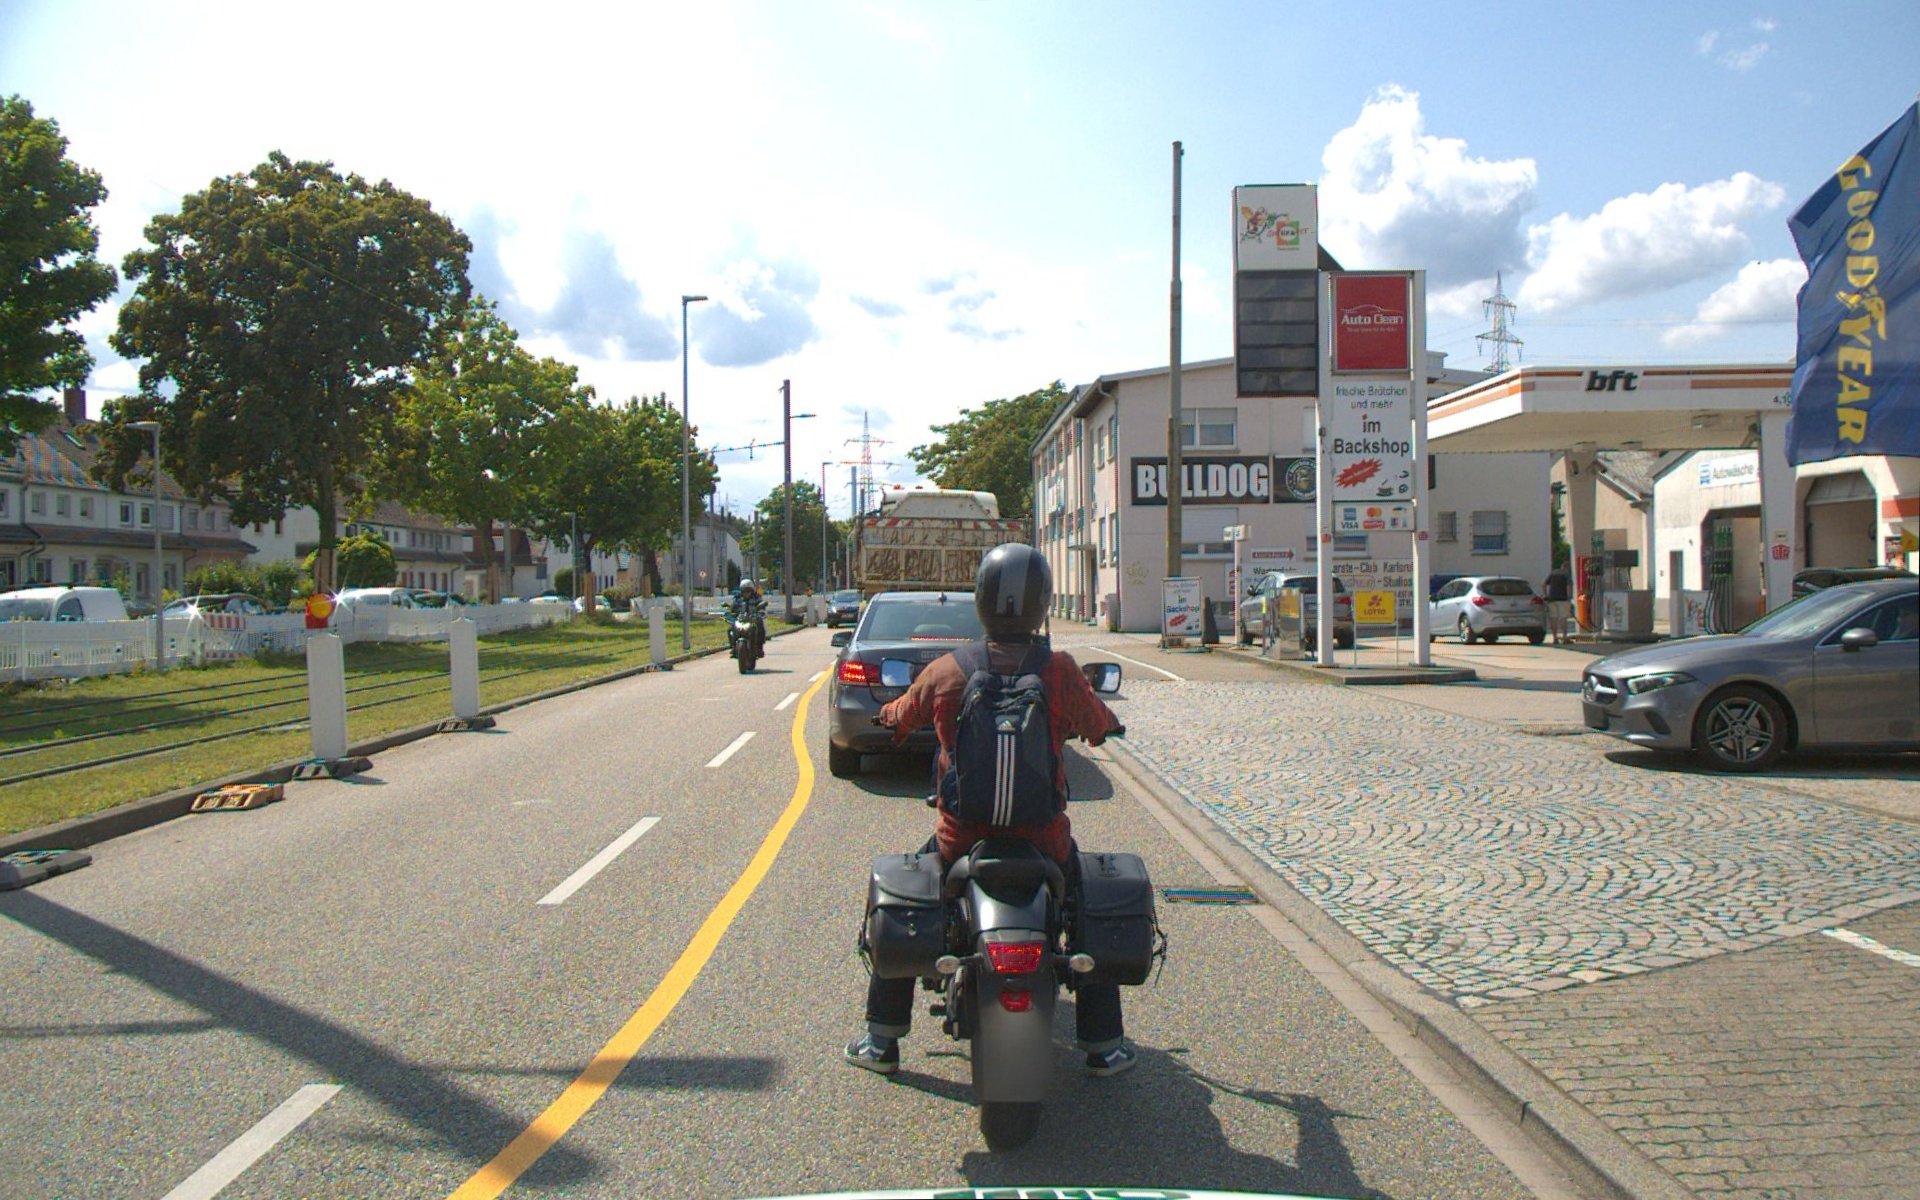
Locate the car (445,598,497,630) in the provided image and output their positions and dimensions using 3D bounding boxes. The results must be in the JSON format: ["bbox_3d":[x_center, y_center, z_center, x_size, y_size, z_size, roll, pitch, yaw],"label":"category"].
[{"bbox_3d":[-28.299,0.779,95.831,1.740,1.753,4.127,-1,0,-1],"label":"car"}]

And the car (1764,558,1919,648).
[{"bbox_3d":[16.621,0.025,30.319,1.770,1.529,3.832,-1,0,-3],"label":"car"}]

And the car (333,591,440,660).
[{"bbox_3d":[-16.938,0.717,49.040,1.740,1.900,4.127,-1,0,-1],"label":"car"}]

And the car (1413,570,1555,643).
[{"bbox_3d":[11.724,0.120,37.264,1.770,1.529,3.831,-1,0,-3],"label":"car"}]

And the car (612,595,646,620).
[{"bbox_3d":[-24.965,0.548,124.848,1.740,1.753,4.127,-1,0,-1],"label":"car"}]

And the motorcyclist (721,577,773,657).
[{"bbox_3d":[-3.808,0.295,29.618,0.851,1.402,0.800,-1,0,-4],"label":"motorcyclist"}]

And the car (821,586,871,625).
[{"bbox_3d":[-4.642,0.212,68.018,1.786,1.478,4.323,-2,0,-1],"label":"car"}]

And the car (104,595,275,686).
[{"bbox_3d":[-16.670,0.830,36.022,1.740,1.805,4.227,-1,0,-1],"label":"car"}]

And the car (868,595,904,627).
[{"bbox_3d":[-4.100,0.577,92.077,1.786,1.630,4.323,-2,0,-1],"label":"car"}]

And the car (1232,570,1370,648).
[{"bbox_3d":[7.460,0.177,36.629,1.636,1.589,4.236,-1,0,-8],"label":"car"}]

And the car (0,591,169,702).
[{"bbox_3d":[-16.462,0.787,30.385,1.740,1.853,4.363,-1,0,-1],"label":"car"}]

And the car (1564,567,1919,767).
[{"bbox_3d":[7.073,0.470,12.860,4.181,1.440,1.675,-1,0,7],"label":"car"}]

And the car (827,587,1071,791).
[{"bbox_3d":[-0.110,0.644,14.271,1.786,1.478,3.999,1,0,-1],"label":"car"}]

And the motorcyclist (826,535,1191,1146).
[{"bbox_3d":[0.125,0.644,5.015,0.959,1.630,1.087,-1,0,-1],"label":"motorcyclist"}]

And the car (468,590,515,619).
[{"bbox_3d":[-29.426,0.276,103.948,1.740,1.753,4.127,-1,0,-1],"label":"car"}]

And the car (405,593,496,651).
[{"bbox_3d":[-16.970,0.701,55.258,1.740,1.837,4.127,-1,0,-1],"label":"car"}]

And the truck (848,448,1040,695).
[{"bbox_3d":[-0.281,-0.433,26.796,2.585,3.354,8.055,-1,0,-1],"label":"truck"}]

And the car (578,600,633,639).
[{"bbox_3d":[-17.054,0.910,79.682,1.740,1.753,4.127,-1,0,-1],"label":"car"}]

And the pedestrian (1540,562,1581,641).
[{"bbox_3d":[12.956,0.031,35.711,0.696,1.685,0.546,-1,0,35],"label":"pedestrian"}]

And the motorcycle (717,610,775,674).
[{"bbox_3d":[-3.794,0.725,29.453,0.851,1.039,2.243,-1,0,-3],"label":"motorcycle"}]

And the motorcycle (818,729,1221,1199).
[{"bbox_3d":[0.127,0.998,5.321,0.959,0.913,2.653,-1,0,-1],"label":"motorcycle"}]
